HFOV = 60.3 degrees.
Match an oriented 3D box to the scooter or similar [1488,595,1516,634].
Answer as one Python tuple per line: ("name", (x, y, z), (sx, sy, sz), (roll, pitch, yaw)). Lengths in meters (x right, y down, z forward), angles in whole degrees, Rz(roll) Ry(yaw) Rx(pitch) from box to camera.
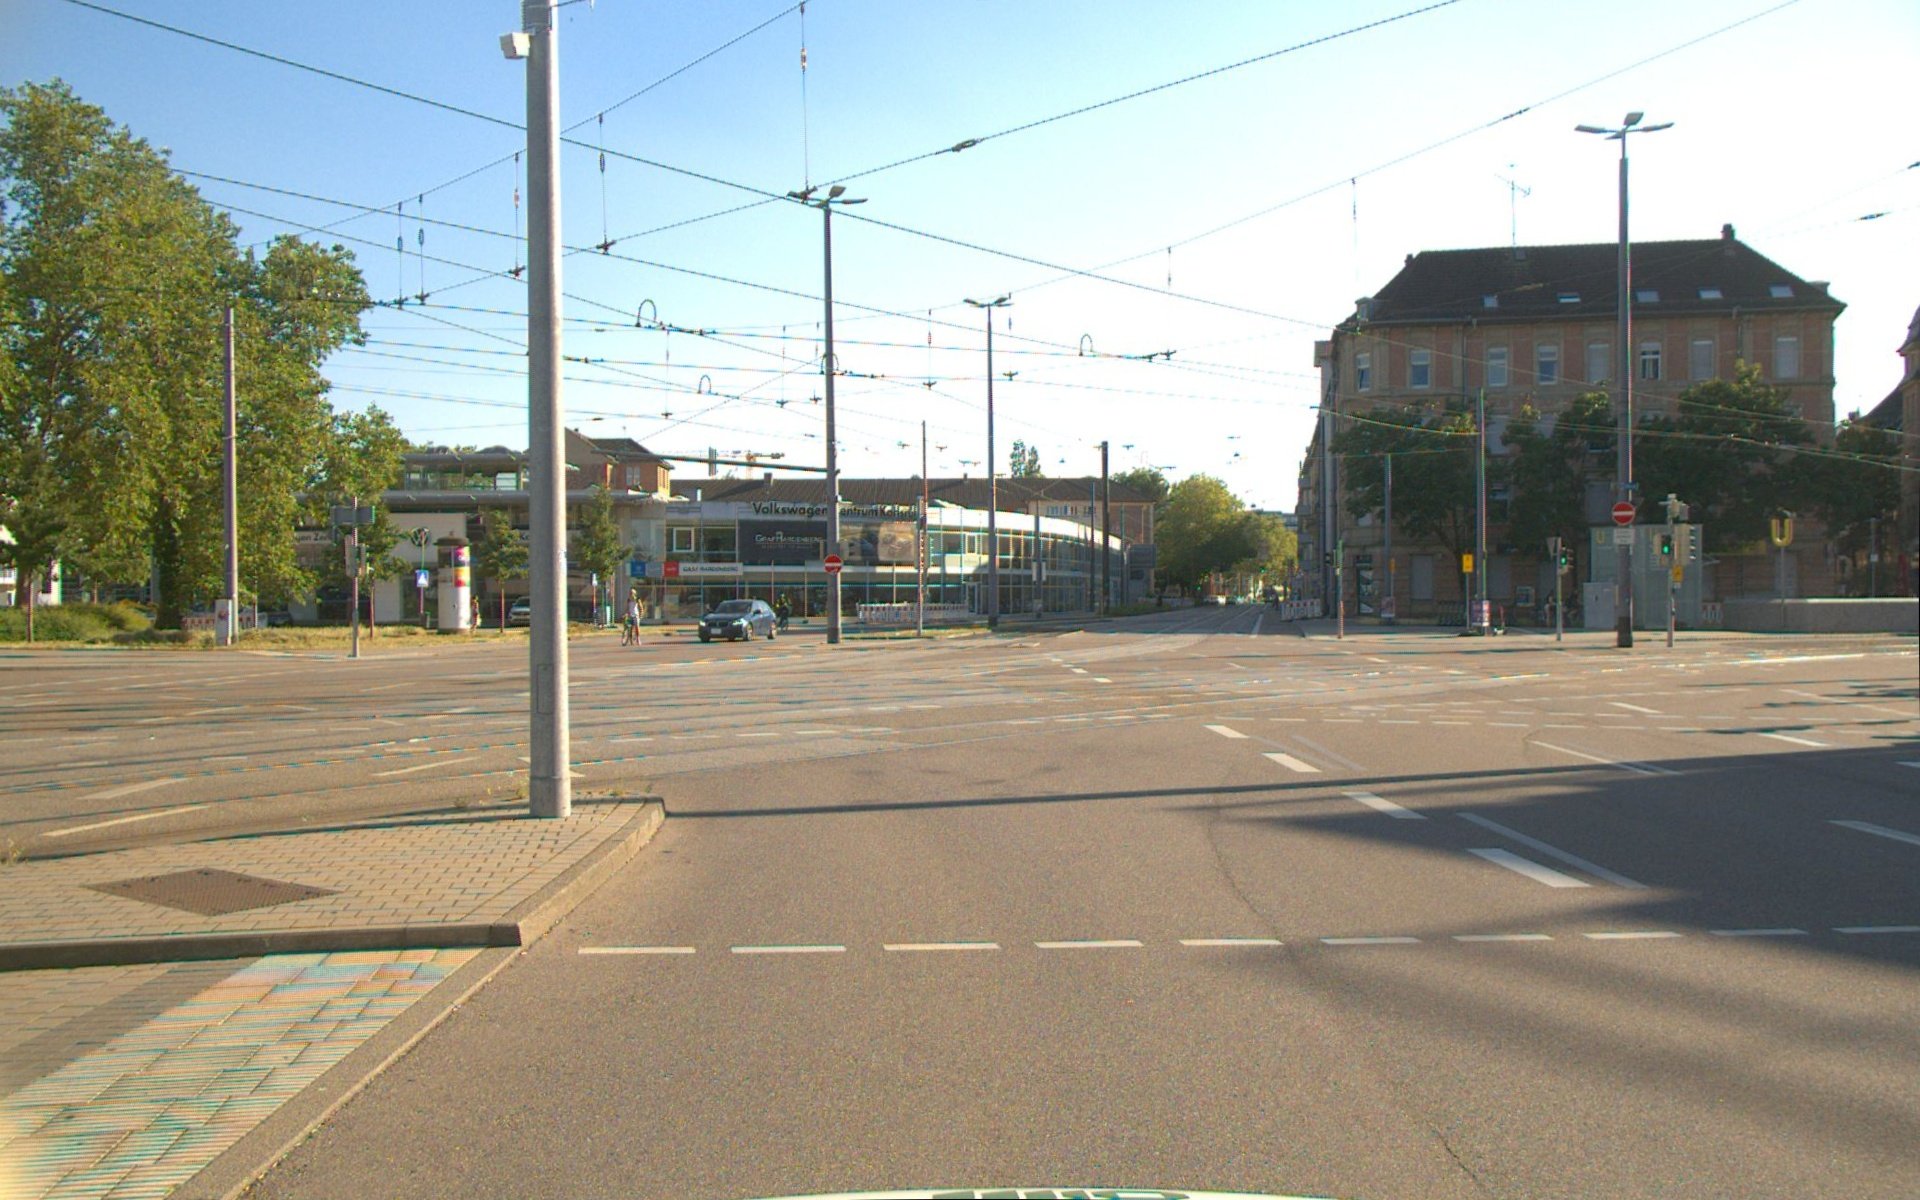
("scooter or similar", (20.005, 0.534, 61.065), (0.769, 1.400, 1.910), (1, -1, 12))

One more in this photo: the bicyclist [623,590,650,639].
("bicyclist", (-11.051, 0.494, 56.482), (0.585, 1.644, 0.823), (1, -1, 15))

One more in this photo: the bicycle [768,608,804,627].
("bicycle", (-8.555, 0.875, 81.391), (0.626, 0.886, 2.232), (1, -1, 27))

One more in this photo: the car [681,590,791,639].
("car", (-7.830, 0.530, 58.158), (1.954, 1.613, 3.997), (1, -1, 24))

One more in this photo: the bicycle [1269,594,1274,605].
("bicycle", (26.944, -0.031, 142.936), (0.401, 0.958, 1.847), (1, -1, 10))

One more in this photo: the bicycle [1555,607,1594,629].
("bicycle", (27.874, 0.832, 75.050), (1.566, 0.969, 0.658), (1, -1, -10))

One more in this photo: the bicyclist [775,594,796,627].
("bicyclist", (-8.583, 0.496, 81.327), (0.641, 1.600, 0.921), (1, -1, 27))

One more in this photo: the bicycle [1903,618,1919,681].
("bicycle", (17.039, 0.884, 27.970), (0.524, 1.067, 2.315), (1, 1, -10))

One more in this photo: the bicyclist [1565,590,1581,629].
("bicyclist", (27.820, 0.425, 75.071), (0.505, 1.730, 0.519), (1, -1, -8))

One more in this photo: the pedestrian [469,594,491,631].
("pedestrian", (-22.554, 0.588, 77.715), (0.839, 1.724, 0.496), (1, -1, -5))

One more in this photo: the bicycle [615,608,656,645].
("bicycle", (-11.064, 0.905, 56.430), (0.599, 1.210, 1.870), (1, -1, 15))

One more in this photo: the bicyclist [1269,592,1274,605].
("bicyclist", (26.951, -0.134, 142.920), (0.399, 1.136, 0.399), (1, -1, 9))

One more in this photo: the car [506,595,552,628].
("car", (-24.825, 0.663, 95.364), (1.955, 1.780, 3.995), (1, -1, -6))
